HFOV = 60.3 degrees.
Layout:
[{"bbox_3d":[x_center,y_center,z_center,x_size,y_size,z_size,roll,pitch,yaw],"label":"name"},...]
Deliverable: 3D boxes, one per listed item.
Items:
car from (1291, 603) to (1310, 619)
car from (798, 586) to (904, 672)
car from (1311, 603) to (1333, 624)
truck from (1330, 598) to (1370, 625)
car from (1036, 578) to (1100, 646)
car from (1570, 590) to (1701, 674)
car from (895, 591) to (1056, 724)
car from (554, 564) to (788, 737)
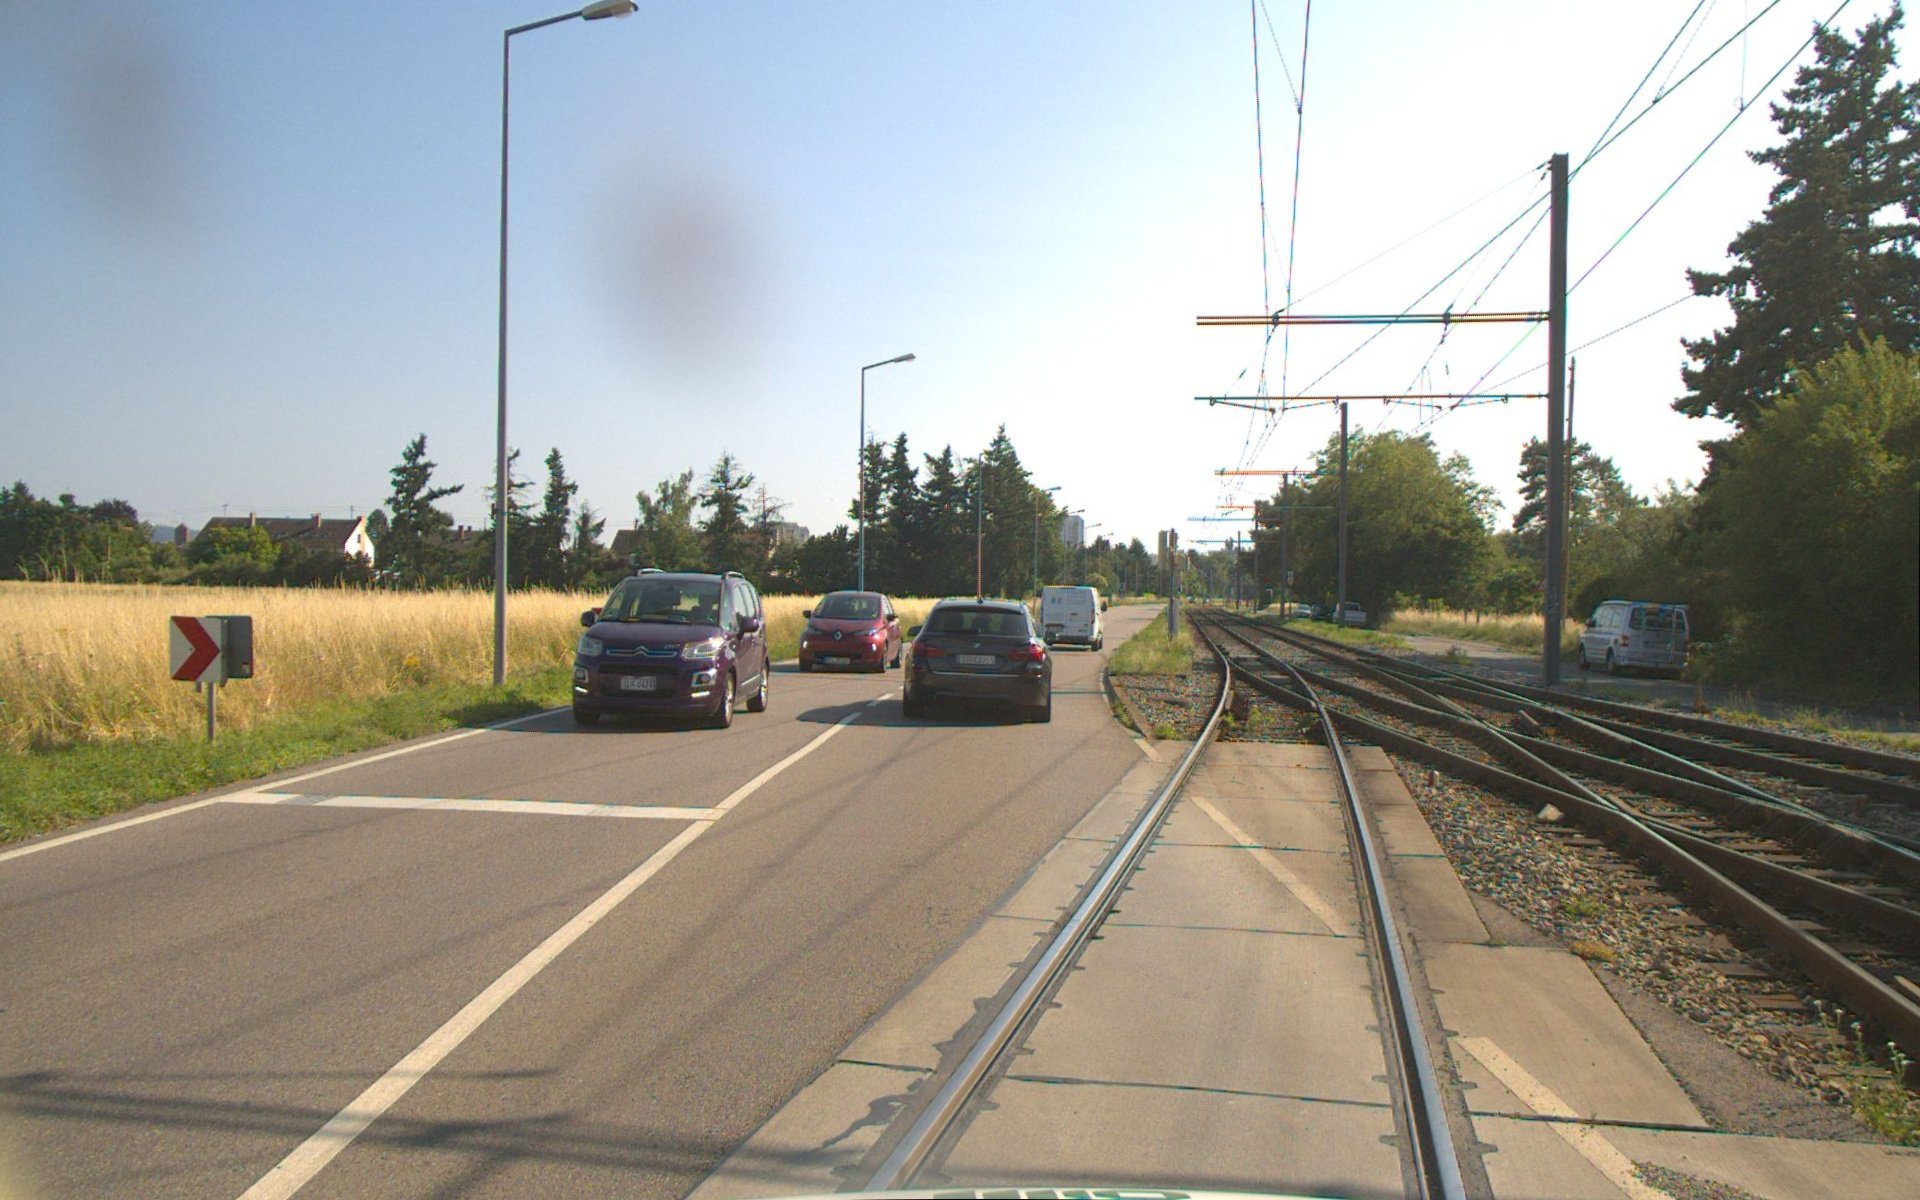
[{"bbox_3d":[34.256,1.114,166.436,1.587,1.423,3.492,3,-1,8],"label":"car"},{"bbox_3d":[-2.149,0.544,33.495,1.677,1.576,3.930,2,0,2],"label":"car"},{"bbox_3d":[32.522,1.220,148.498,1.698,1.709,3.547,3,-1,10],"label":"car"},{"bbox_3d":[28.403,0.826,120.657,2.157,1.851,5.934,2,0,7],"label":"truck"},{"bbox_3d":[3.551,0.359,53.631,1.818,2.022,5.112,2,0,6],"label":"car"},{"bbox_3d":[18.563,0.831,45.735,1.952,2.039,5.071,4,0,7],"label":"car"},{"bbox_3d":[0.290,0.677,21.708,1.830,1.478,4.745,2,0,3],"label":"car"},{"bbox_3d":[-3.167,0.492,19.043,1.671,1.694,4.591,2,0,2],"label":"car"}]
